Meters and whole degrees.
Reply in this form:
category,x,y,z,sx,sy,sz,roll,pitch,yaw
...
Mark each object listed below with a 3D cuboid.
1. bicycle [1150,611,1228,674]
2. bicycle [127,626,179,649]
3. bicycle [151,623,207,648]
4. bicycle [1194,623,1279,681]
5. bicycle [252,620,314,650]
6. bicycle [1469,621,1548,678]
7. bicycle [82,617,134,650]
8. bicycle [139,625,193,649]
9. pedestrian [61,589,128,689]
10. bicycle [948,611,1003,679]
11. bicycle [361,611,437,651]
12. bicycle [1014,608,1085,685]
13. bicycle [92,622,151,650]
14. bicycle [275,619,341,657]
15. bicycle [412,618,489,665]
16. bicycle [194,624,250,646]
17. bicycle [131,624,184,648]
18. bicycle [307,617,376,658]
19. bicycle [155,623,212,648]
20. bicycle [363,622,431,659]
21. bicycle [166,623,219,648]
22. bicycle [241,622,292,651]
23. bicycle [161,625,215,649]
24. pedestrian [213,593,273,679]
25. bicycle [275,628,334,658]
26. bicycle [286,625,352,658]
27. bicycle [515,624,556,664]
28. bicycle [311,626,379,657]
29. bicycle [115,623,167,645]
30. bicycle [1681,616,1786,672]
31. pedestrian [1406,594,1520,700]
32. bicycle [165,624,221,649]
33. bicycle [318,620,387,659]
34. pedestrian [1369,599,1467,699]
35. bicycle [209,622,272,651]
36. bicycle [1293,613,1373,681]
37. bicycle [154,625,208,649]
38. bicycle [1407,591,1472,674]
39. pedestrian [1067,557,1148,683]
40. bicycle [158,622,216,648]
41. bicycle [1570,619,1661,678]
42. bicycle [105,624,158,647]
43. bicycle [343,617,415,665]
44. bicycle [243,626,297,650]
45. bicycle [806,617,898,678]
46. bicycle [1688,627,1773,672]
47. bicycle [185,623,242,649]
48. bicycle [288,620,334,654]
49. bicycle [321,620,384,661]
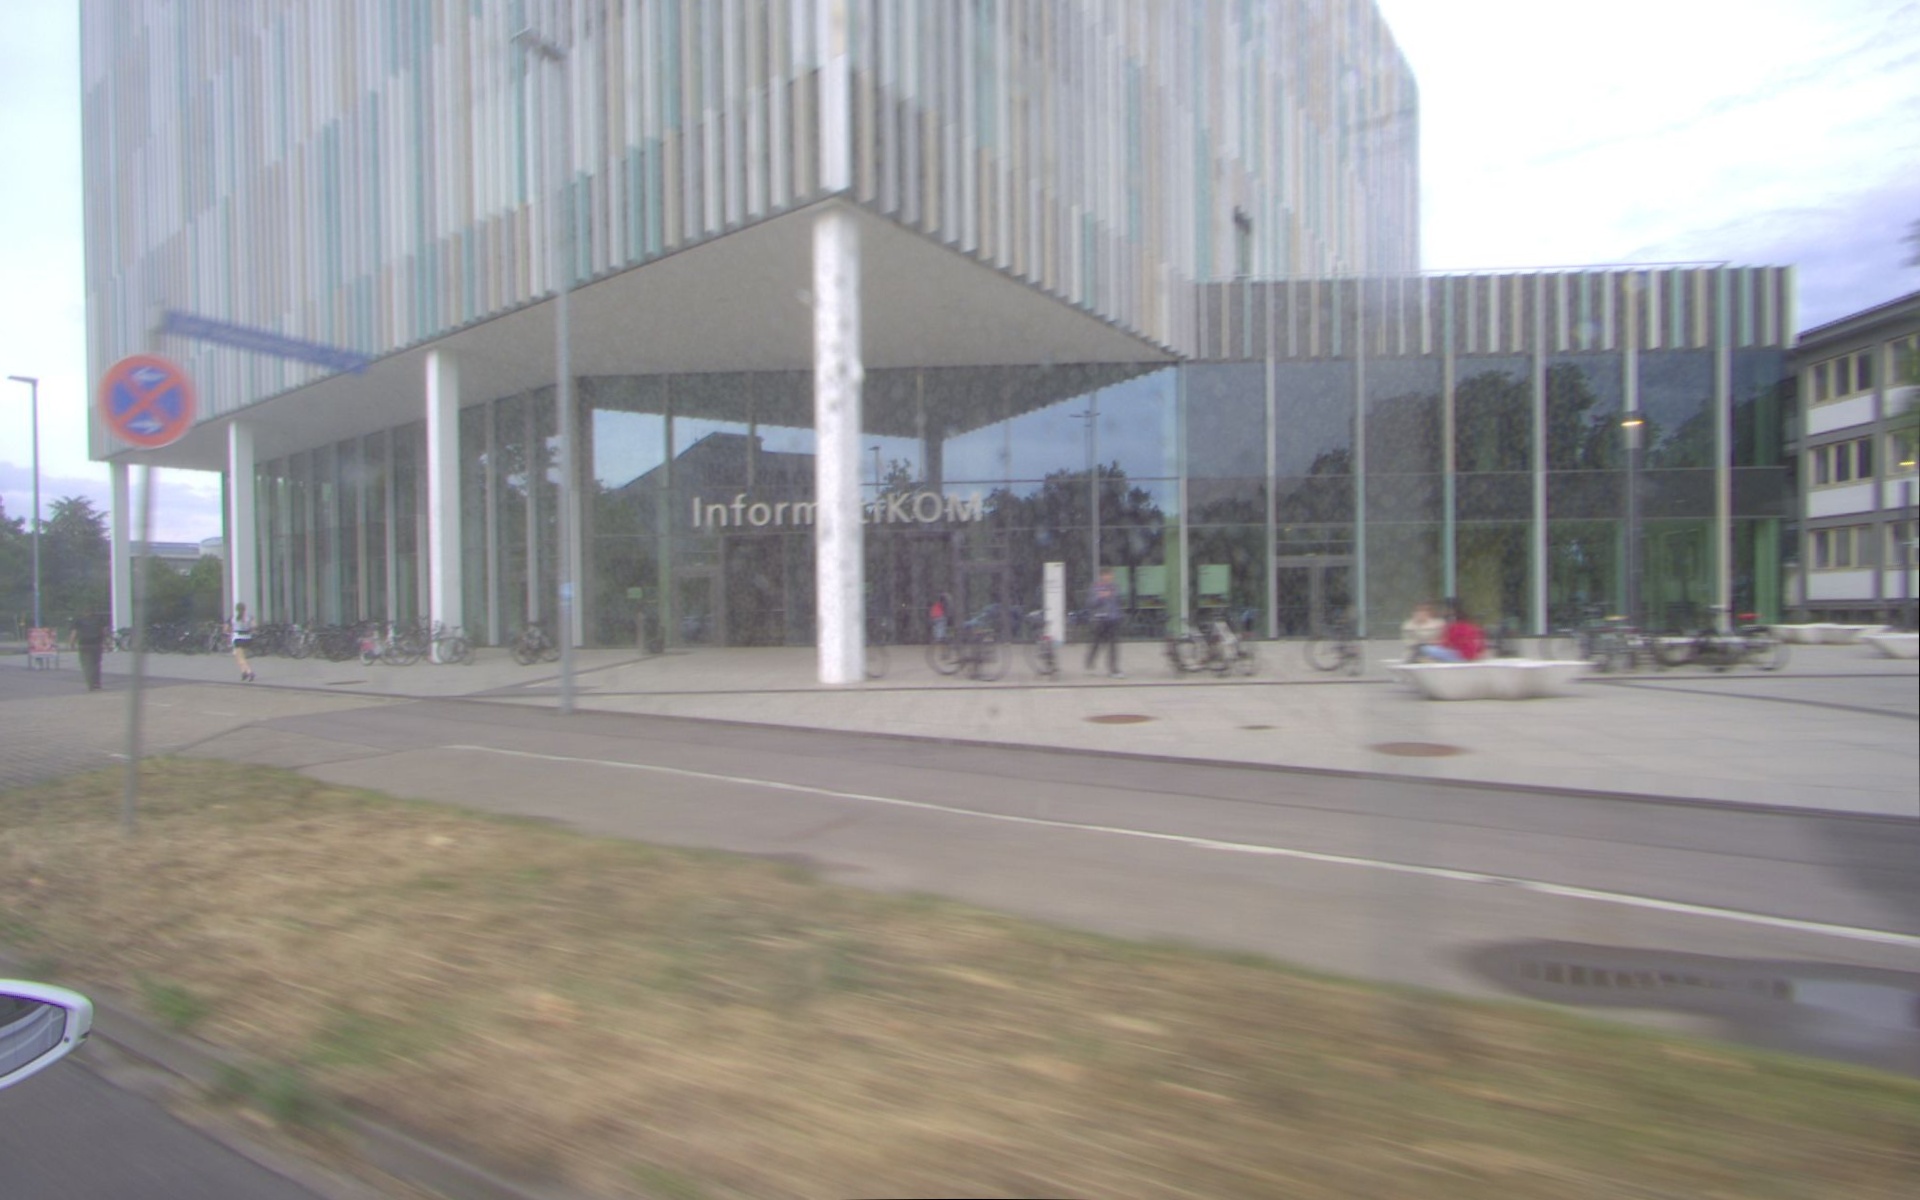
category,x,y,z,sx,sy,sz,roll,pitch,yaw
bicycle,3.954,0.716,17.481,0.759,1.015,1.959,-1,0,-5
bicycle,-33.318,1.524,41.363,0.549,0.886,1.600,-1,0,37
bicycle,-29.761,1.333,38.174,0.549,0.886,1.600,-1,1,37
bicycle,4.781,0.878,17.449,0.659,0.910,1.844,-1,0,-12
bicycle,-23.254,1.189,34.425,0.511,0.959,1.682,-1,0,43
bicycle,9.326,0.821,17.074,0.387,0.910,1.472,-1,0,-7
bicycle,-37.293,1.463,43.848,1.634,1.351,0.459,-4,2,-41
bicycle,-32.045,1.486,40.423,0.549,0.886,1.600,-1,1,37
pedestrian,-18.320,0.814,21.188,0.883,2.041,0.839,-1,2,38
bicycle,0.245,0.775,18.011,0.722,1.130,2.182,-1,0,-6
bicycle,-17.815,0.977,31.828,1.951,1.160,0.647,-2,2,-12
bicycle,1.506,0.754,17.389,0.759,1.203,2.719,-1,0,-5
bicycle,-35.851,1.531,42.847,0.618,1.096,1.788,-1,2,35
bicycle,-20.877,1.200,32.067,0.565,1.117,1.636,0,2,40
bicycle,-12.539,1.026,24.634,1.931,1.095,0.607,-1,2,26
bicycle,-27.115,1.271,36.793,0.549,0.726,1.554,-1,1,37
bicycle,-32.863,1.468,41.030,0.549,0.886,1.600,-1,1,37
bicycle,-18.728,1.127,30.327,0.566,1.106,1.633,0,3,45
bicycle,-29.306,1.324,37.820,0.549,0.886,1.600,-1,1,37
bicycle,-16.181,1.147,28.806,1.594,0.949,0.563,-4,3,-43
bicycle,-28.083,1.300,36.660,0.549,0.850,1.449,-1,1,37
bicycle,-22.826,1.202,32.969,0.549,0.886,1.278,-1,1,37
bicycle,-30.262,1.427,39.271,0.509,0.896,1.598,-1,0,36
pedestrian,-15.945,0.788,22.270,0.882,1.860,0.840,-1,0,35
bicycle,-21.458,1.393,32.809,0.362,0.908,1.600,-1,0,37
bicycle,-19.808,1.269,30.982,0.549,0.887,1.598,-1,2,39
bicycle,-10.388,1.062,24.532,0.432,0.941,1.488,0,0,-2
bicycle,-18.159,1.230,29.593,0.549,0.886,1.600,-1,-2,39
bicycle,-34.728,1.418,42.470,0.548,0.886,1.602,-1,0,33
bicycle,13.477,0.748,17.495,0.499,0.910,1.550,-1,0,-7
pedestrian,6.044,0.545,12.058,0.831,1.222,0.892,-1,0,-19
bicycle,-29.812,1.413,38.936,0.549,0.886,1.600,-1,1,37
bicycle,-17.703,1.133,29.210,0.549,0.996,1.599,-1,2,37
pedestrian,5.840,0.607,12.774,0.884,1.209,0.838,-1,0,-39
bicycle,-23.708,1.190,33.014,0.549,0.886,1.600,-1,1,37
bicycle,6.293,0.770,17.021,0.767,1.019,2.191,-1,1,7
bicycle,-31.003,1.459,39.859,0.549,0.886,1.600,-1,1,37
bicycle,8.250,0.524,17.306,0.634,1.324,2.005,1,2,15
pedestrian,2.502,0.350,17.175,1.162,2.088,1.136,0,-1,-3
bicycle,-28.595,1.300,37.059,0.549,0.886,1.600,-1,1,37
bicycle,10.981,0.794,16.821,0.532,0.910,1.356,-1,0,-7
bicycle,-34.364,1.460,41.543,0.549,0.886,1.600,-1,1,37
bicycle,-15.040,1.060,25.905,2.170,1.156,0.634,-1,3,33
bicycle,-23.852,1.304,34.634,0.549,0.756,1.429,-1,1,37
bicycle,-2.013,0.858,18.519,1.820,1.075,0.635,-1,-2,42
bicycle,13.469,0.851,17.543,0.481,0.700,1.185,-1,1,-7
bicycle,-26.849,1.284,36.022,0.549,0.845,1.526,-1,1,37
bicycle,-21.420,1.210,33.052,0.430,1.064,1.191,0,1,43
bicycle,-17.390,1.142,28.688,0.552,1.058,1.394,-1,2,37
